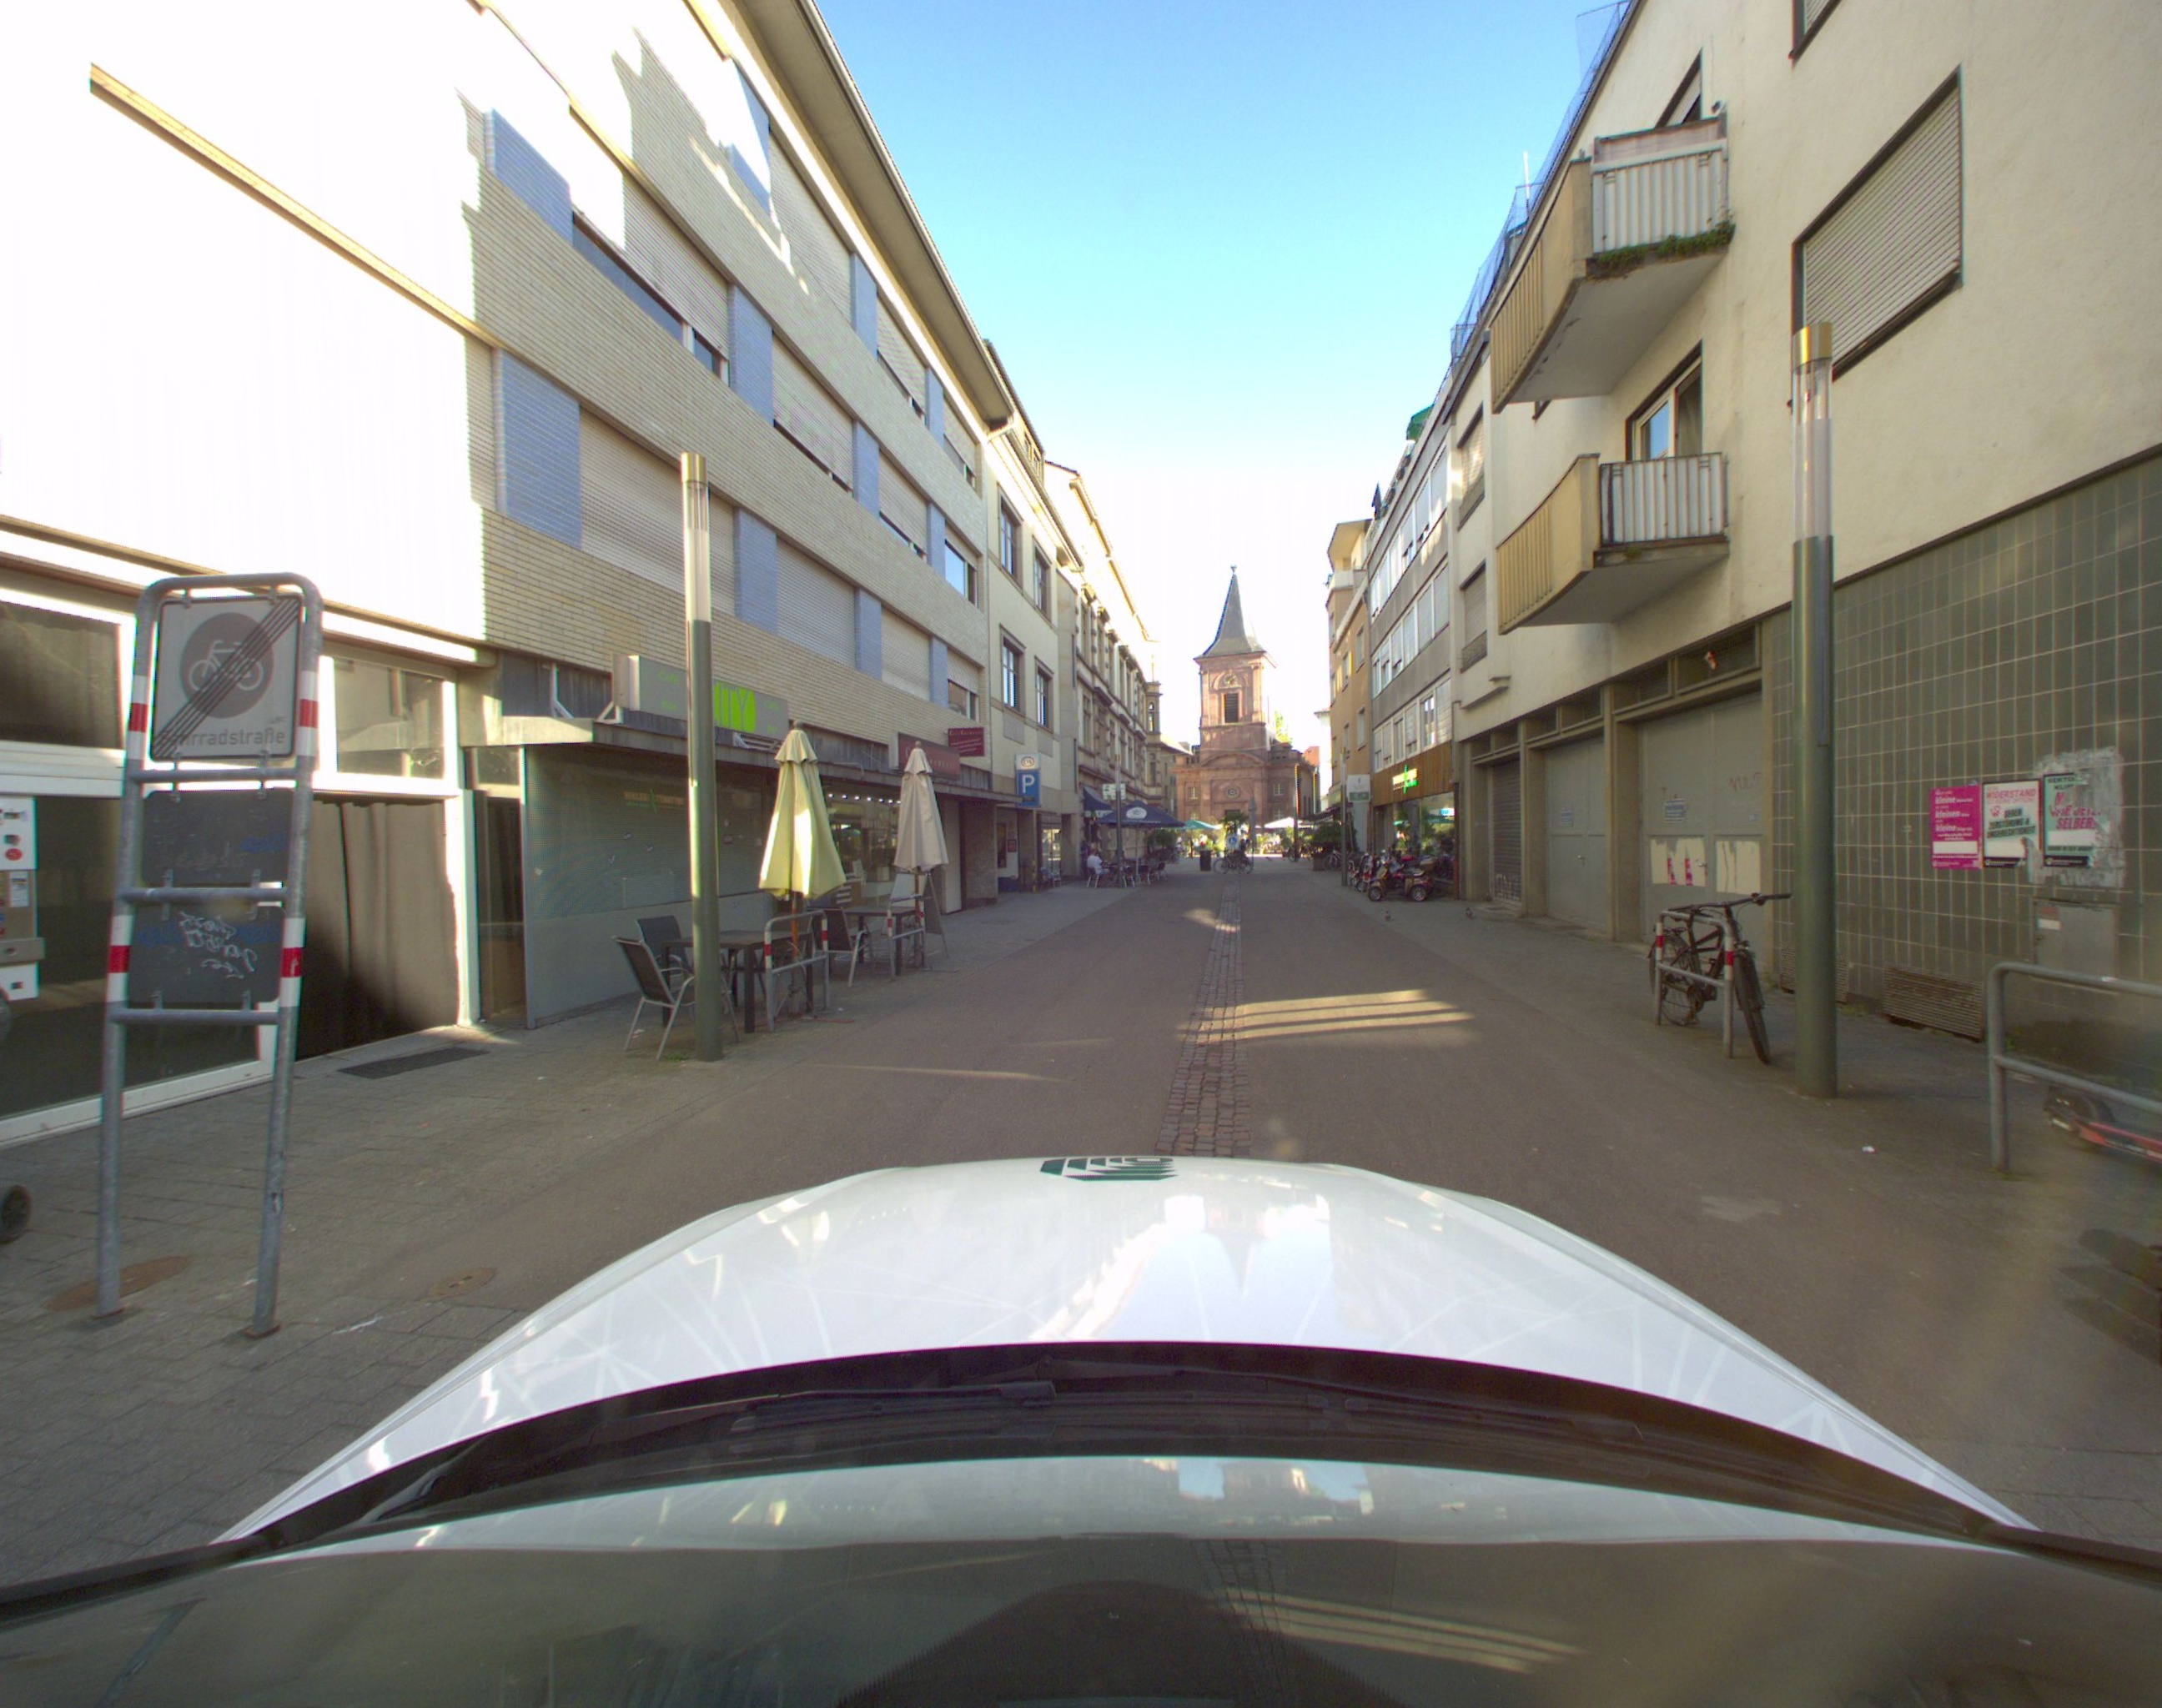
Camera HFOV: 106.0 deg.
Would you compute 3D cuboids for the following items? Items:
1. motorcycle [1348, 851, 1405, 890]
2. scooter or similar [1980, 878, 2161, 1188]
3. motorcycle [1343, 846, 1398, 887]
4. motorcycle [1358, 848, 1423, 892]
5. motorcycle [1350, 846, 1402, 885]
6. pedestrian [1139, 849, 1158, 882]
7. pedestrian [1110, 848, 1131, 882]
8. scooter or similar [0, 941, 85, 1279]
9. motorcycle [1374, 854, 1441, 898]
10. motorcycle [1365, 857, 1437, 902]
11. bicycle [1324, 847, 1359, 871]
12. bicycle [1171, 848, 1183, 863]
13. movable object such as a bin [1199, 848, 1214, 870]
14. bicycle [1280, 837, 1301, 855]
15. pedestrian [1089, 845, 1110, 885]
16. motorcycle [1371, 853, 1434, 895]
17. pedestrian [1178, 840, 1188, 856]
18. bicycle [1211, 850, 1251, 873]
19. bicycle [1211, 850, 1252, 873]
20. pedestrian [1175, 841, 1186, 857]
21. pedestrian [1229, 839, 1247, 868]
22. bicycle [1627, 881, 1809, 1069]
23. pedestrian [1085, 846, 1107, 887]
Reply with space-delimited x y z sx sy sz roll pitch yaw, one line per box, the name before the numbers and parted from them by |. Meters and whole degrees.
motorcycle | 8.516 0.483 23.512 1.469 1.075 0.415 -1 0 29
scooter or similar | 4.659 0.759 3.516 0.305 1.252 1.242 -1 0 7
motorcycle | 8.630 0.370 24.307 1.470 1.181 0.414 -1 0 26
motorcycle | 8.592 0.447 22.611 1.609 1.175 0.483 -1 0 29
motorcycle | 9.138 0.368 25.249 1.470 1.181 0.414 -1 0 26
pedestrian | 2.564 0.430 31.011 0.689 1.215 0.584 -1 1 3
pedestrian | 1.487 0.422 30.526 0.762 1.233 0.832 -1 1 3
scooter or similar | -4.469 0.976 2.988 0.803 1.143 0.943 -2 2 -37
motorcycle | 8.166 0.551 20.403 1.502 1.075 0.415 -1 0 29
motorcycle | 7.735 0.615 19.719 1.549 1.041 0.375 -1 0 29
bicycle | 11.490 0.214 35.976 1.452 1.004 0.576 -1 1 17
bicycle | 5.865 0.072 49.784 0.453 0.849 2.155 -1 1 14
movable object such as a bin | 6.281 0.245 40.664 0.717 1.074 0.375 -1 1 9
bicycle | 15.863 -0.634 61.778 1.590 1.308 0.363 -1 1 -19
pedestrian | 0.654 0.385 28.890 0.715 1.368 0.710 -1 1 -1
motorcycle | 8.462 0.524 21.428 1.469 1.075 0.415 -1 0 29
pedestrian | 8.206 -0.467 65.362 0.695 1.218 0.723 -1 1 16
bicycle | 6.904 0.343 37.522 1.814 1.004 0.382 -1 1 7
bicycle | 6.853 0.339 37.125 1.814 1.004 0.382 -1 1 7
pedestrian | 7.831 -0.376 63.972 0.695 1.218 0.723 -1 1 16
pedestrian | 8.040 -0.038 41.614 0.878 1.464 0.733 -1 1 11
bicycle | 4.637 0.796 6.054 0.443 1.140 1.717 0 0 16
pedestrian | 0.506 0.420 27.797 0.706 1.368 0.719 -1 1 -1
